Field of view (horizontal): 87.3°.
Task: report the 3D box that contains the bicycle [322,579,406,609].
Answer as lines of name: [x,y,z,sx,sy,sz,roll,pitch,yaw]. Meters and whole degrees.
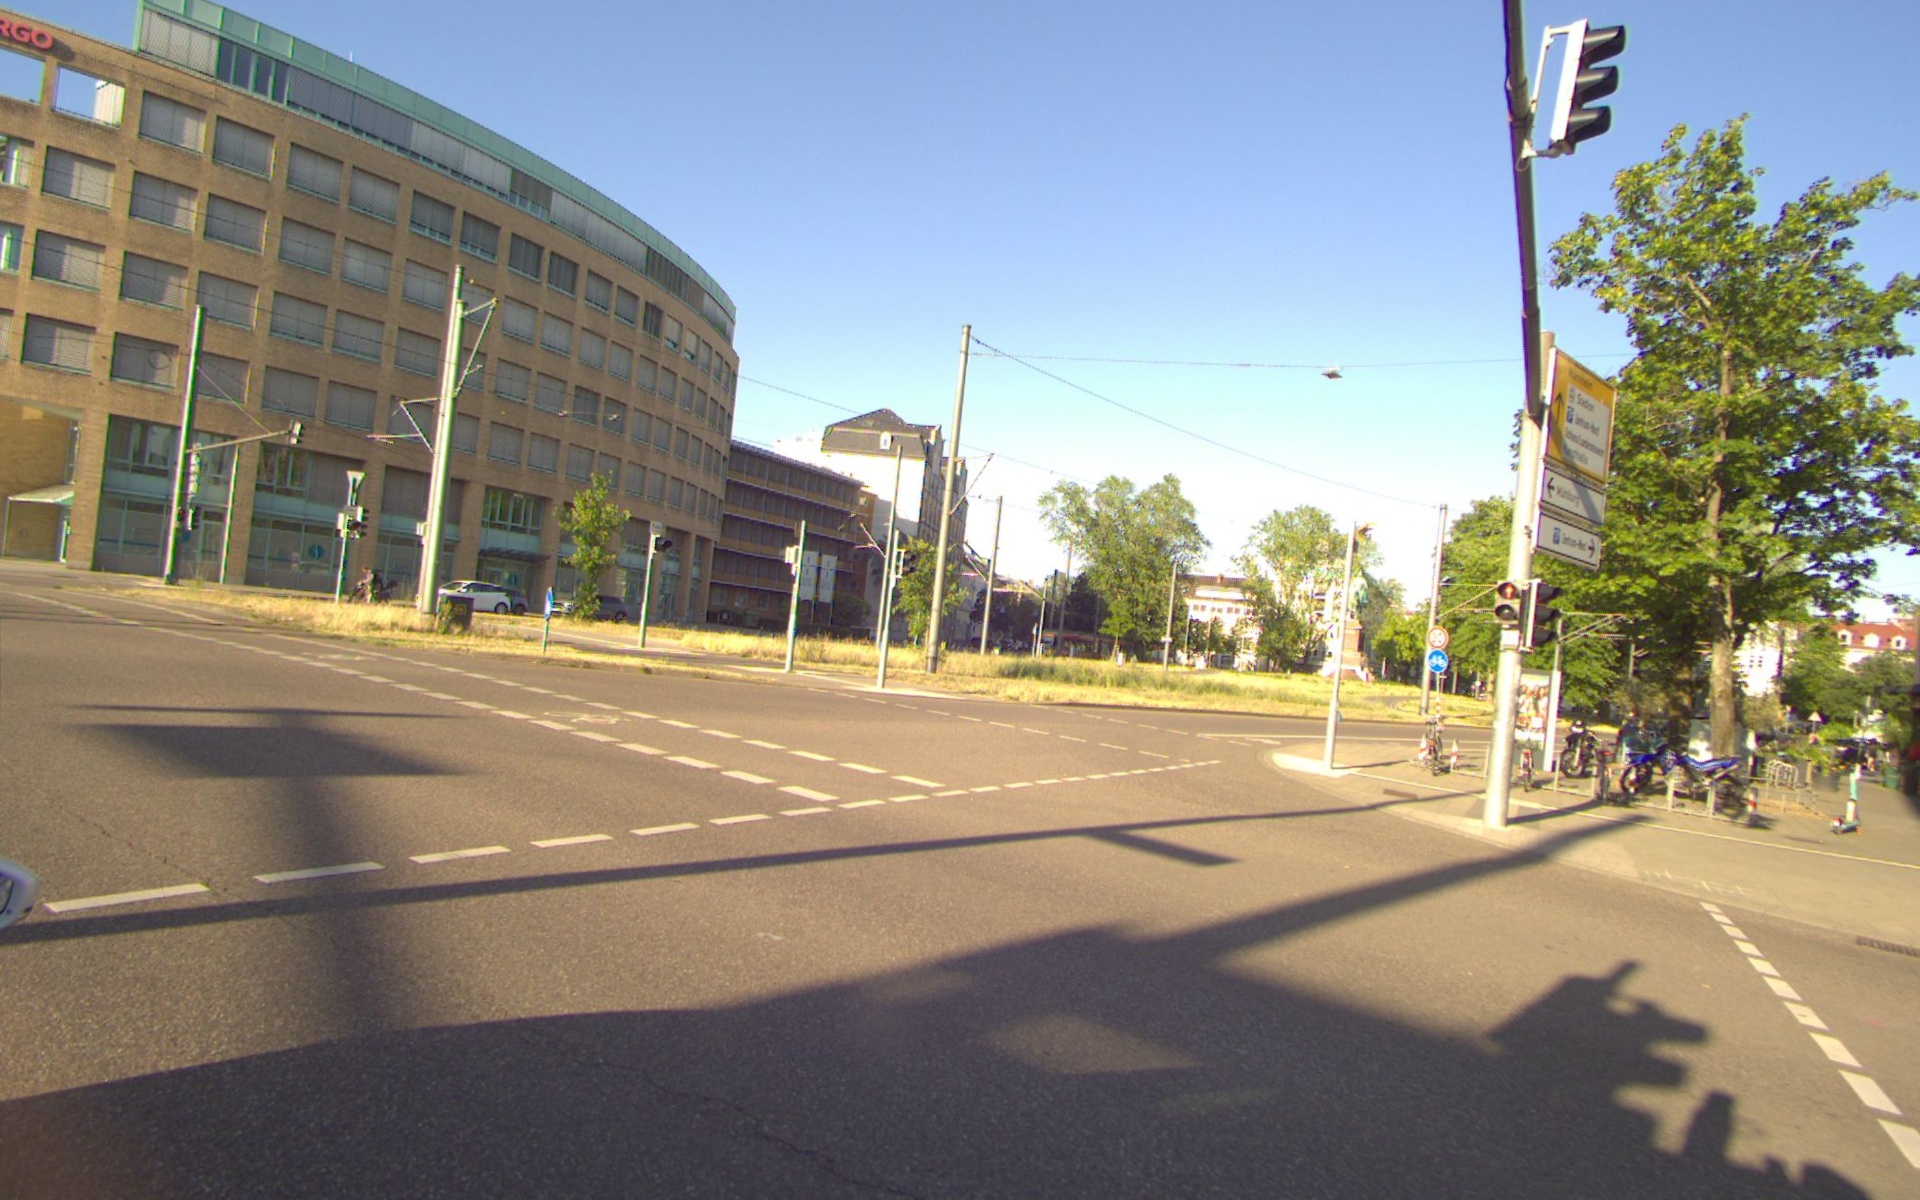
bicycle: [-26.239,-0.255,44.378,1.135,1.012,2.966,5,-2,30]

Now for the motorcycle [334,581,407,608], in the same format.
motorcycle: [-27.453,-0.247,46.871,1.015,0.975,2.723,5,-2,31]

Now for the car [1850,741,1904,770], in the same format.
car: [53.891,9.147,59.118,3.363,1.400,1.723,8,-2,-38]

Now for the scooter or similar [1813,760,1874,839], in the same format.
scooter or similar: [15.621,3.497,17.779,1.549,1.251,0.479,6,0,-39]

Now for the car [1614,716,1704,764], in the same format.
car: [25.874,5.179,37.205,3.606,1.444,1.625,8,-2,-38]

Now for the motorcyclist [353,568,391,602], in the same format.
motorcyclist: [-27.400,-0.695,46.889,1.015,1.452,1.067,5,-1,31]

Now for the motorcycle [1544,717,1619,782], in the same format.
motorcycle: [14.264,3.412,23.063,2.044,1.323,0.880,7,-2,-43]

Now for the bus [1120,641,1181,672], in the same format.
bus: [25.277,7.527,133.011,2.321,3.247,11.027,5,-2,42]

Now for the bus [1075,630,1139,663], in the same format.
bus: [18.344,5.877,124.756,2.319,3.247,11.039,5,-2,39]

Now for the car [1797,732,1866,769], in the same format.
car: [45.449,7.859,52.443,3.842,1.574,1.945,8,-2,-38]

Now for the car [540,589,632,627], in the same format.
car: [-19.033,0.438,51.317,1.790,1.509,4.059,5,-2,31]

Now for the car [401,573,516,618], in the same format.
car: [-22.565,-0.176,45.402,1.961,1.509,4.171,5,-2,30]

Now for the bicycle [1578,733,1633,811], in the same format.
bicycle: [11.725,3.091,18.306,0.584,1.128,2.058,6,0,29]

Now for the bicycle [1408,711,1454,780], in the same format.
bicycle: [9.273,2.824,19.775,0.584,1.129,1.974,6,0,29]

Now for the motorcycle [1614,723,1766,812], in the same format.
motorcycle: [14.647,3.341,20.258,2.224,1.408,0.845,6,-2,20]

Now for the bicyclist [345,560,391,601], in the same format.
bicyclist: [-26.144,-0.852,44.418,1.135,1.590,1.225,5,-1,30]

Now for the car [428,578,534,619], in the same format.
car: [-24.587,-0.039,51.757,1.954,1.555,4.488,5,-2,32]

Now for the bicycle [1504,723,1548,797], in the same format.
bicycle: [10.658,2.974,18.936,0.584,1.128,2.003,6,0,30]

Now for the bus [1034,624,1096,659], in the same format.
bus: [12.216,4.895,115.881,2.371,3.247,11.099,5,-2,32]
